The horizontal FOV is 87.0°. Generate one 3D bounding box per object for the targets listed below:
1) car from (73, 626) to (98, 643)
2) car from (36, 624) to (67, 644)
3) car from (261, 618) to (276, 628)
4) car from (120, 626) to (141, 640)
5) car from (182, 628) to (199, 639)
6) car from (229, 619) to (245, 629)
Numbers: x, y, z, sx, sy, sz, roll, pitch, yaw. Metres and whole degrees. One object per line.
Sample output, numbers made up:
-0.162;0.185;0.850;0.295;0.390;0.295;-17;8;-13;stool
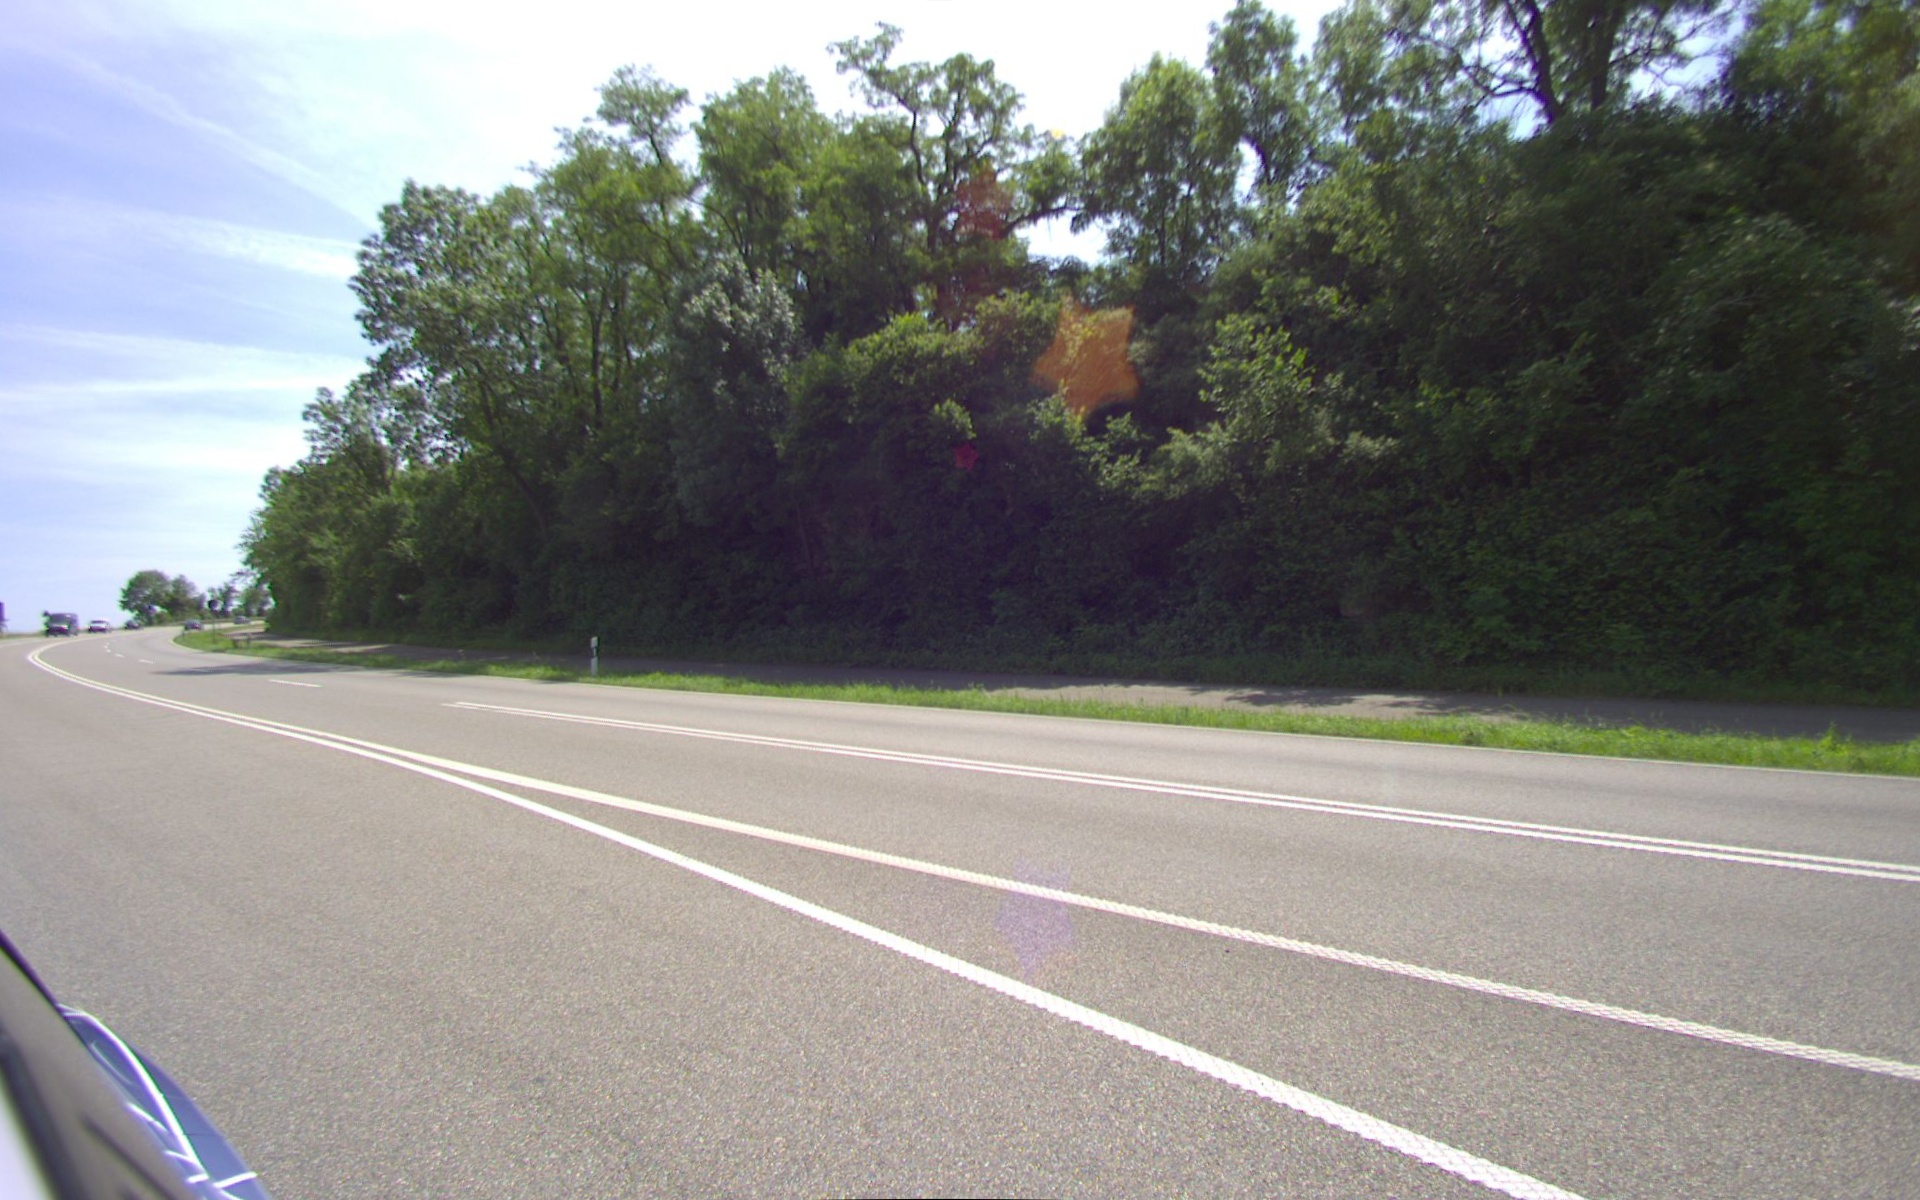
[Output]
-110.924;4.307;128.389;1.822;2.029;3.883;0;0;-32;car
-97.883;3.664;109.073;1.966;2.029;4.011;-1;-1;-33;car
-129.905;4.293;190.121;1.966;1.687;4.012;0;0;-30;car
-119.840;4.754;146.236;1.737;1.874;3.821;0;0;-30;car
-103.279;4.423;135.808;1.779;1.398;3.879;-1;-1;-37;car
-131.280;4.318;183.790;1.928;1.741;3.922;-1;-1;-29;car
